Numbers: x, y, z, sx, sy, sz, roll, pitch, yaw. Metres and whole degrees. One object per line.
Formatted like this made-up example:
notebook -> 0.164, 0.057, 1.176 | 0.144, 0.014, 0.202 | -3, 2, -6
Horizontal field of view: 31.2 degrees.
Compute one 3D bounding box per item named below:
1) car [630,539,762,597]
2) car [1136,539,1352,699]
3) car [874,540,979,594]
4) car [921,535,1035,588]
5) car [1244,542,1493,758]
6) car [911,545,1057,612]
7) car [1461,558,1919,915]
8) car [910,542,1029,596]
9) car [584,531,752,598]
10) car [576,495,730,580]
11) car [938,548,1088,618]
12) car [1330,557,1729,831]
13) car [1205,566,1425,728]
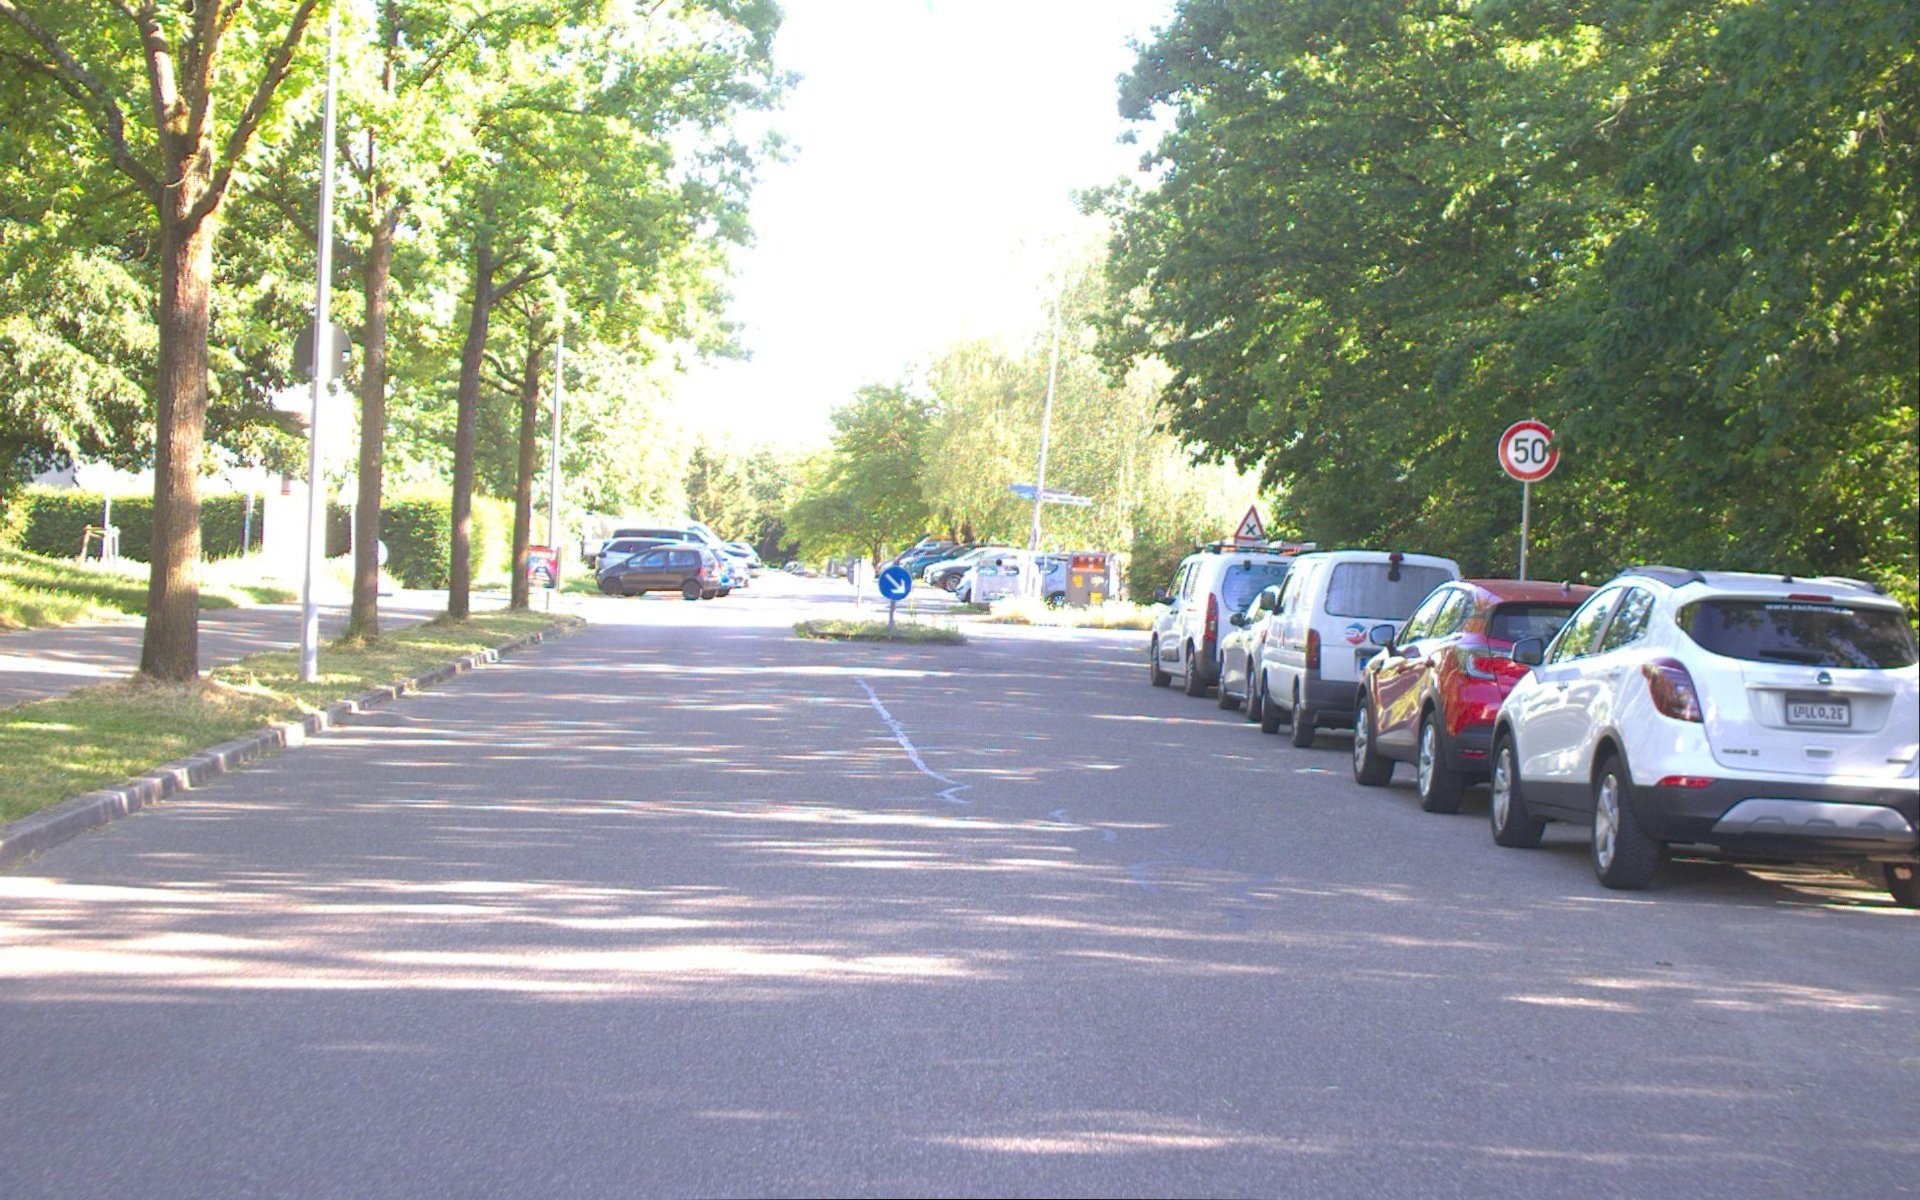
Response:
car -> -8.660, -1.051, 113.016 | 4.107, 1.571, 1.958 | 4, 1, 0
car -> 3.496, 0.183, 43.129 | 1.790, 1.779, 4.558 | 4, 1, -5
car -> -1.261, -1.264, 132.129 | 3.839, 1.789, 1.688 | 4, 1, 3
car -> 0.641, -1.341, 121.042 | 3.839, 1.571, 1.688 | 4, 1, 3
car -> 3.720, 0.412, 31.838 | 1.623, 1.767, 3.669 | 4, 1, -2
car -> 0.677, -0.589, 95.293 | 3.839, 1.571, 1.688 | 4, 1, 5
car -> 4.072, 0.652, 18.637 | 1.775, 1.616, 4.065 | 4, 1, -4
car -> 0.332, -1.066, 117.903 | 3.839, 1.571, 1.688 | 4, 1, 5
car -> -8.190, -0.994, 96.716 | 4.319, 1.571, 2.046 | 4, 1, 5
car -> -10.910, -2.219, 121.885 | 5.198, 2.612, 2.294 | 4, 1, -7
car -> 1.442, -0.455, 92.492 | 3.839, 1.571, 1.688 | 4, 1, 5
car -> 3.868, 0.580, 24.049 | 1.775, 1.616, 4.065 | 4, 1, -4
car -> 3.753, 0.459, 36.990 | 1.691, 1.507, 4.207 | 4, 1, -2
